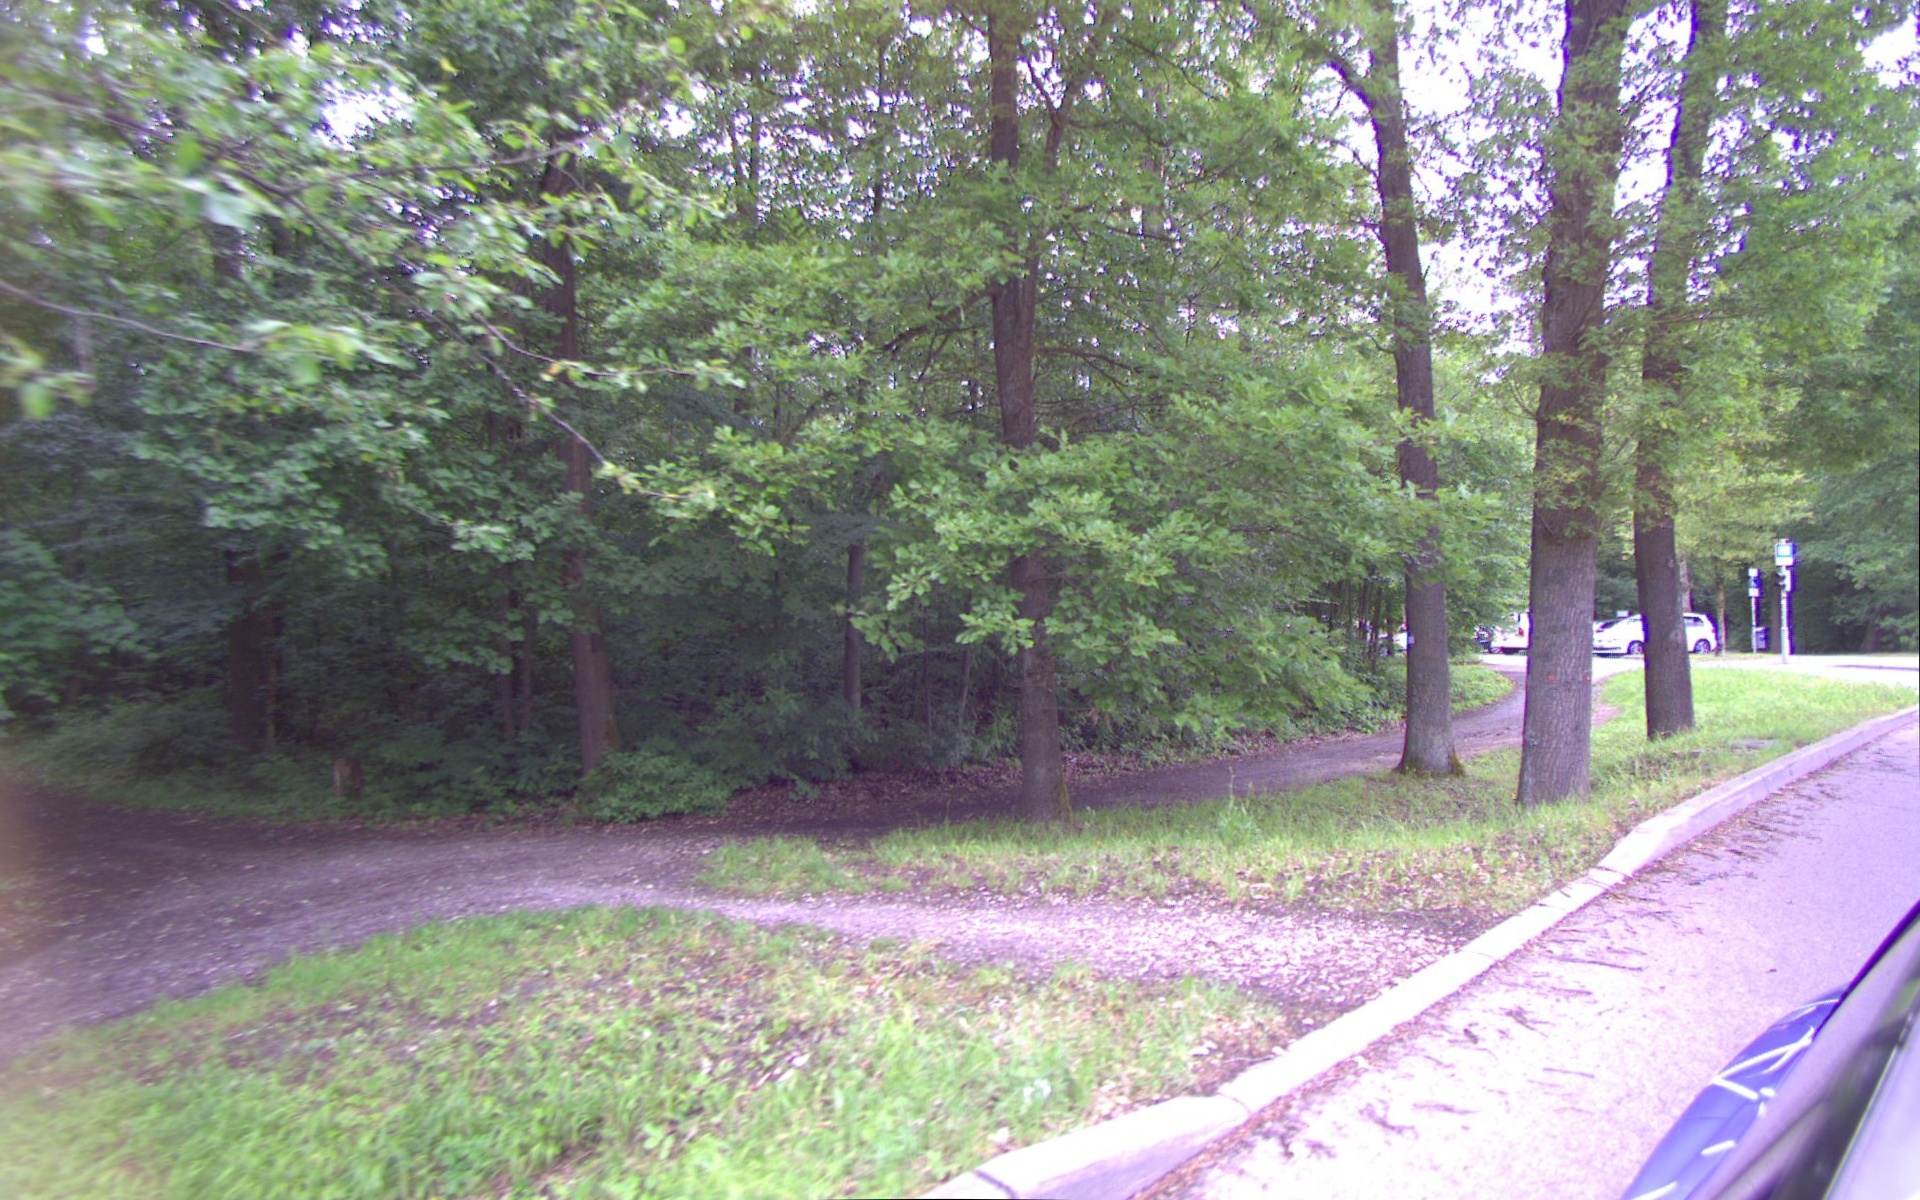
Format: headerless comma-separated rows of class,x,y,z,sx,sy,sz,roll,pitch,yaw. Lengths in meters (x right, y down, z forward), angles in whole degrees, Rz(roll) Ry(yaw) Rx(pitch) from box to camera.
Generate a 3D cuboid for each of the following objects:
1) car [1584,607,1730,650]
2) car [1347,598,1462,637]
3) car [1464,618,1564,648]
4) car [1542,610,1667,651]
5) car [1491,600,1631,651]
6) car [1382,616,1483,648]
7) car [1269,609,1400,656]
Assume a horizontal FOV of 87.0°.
car,26.742,1.094,38.888,4.330,1.572,2.002,0,-2,-8
car,17.038,0.672,38.802,3.768,1.439,1.824,0,-2,-19
car,25.542,1.507,46.665,3.853,1.345,1.724,0,-2,-14
car,26.241,1.244,41.267,3.918,1.572,1.896,0,-2,-8
car,26.040,1.105,43.902,5.075,1.983,2.066,-2,-2,-12
car,23.907,1.630,51.226,4.437,1.578,1.846,0,-2,-14
car,15.803,1.378,42.823,4.846,1.903,2.003,0,-2,-13
